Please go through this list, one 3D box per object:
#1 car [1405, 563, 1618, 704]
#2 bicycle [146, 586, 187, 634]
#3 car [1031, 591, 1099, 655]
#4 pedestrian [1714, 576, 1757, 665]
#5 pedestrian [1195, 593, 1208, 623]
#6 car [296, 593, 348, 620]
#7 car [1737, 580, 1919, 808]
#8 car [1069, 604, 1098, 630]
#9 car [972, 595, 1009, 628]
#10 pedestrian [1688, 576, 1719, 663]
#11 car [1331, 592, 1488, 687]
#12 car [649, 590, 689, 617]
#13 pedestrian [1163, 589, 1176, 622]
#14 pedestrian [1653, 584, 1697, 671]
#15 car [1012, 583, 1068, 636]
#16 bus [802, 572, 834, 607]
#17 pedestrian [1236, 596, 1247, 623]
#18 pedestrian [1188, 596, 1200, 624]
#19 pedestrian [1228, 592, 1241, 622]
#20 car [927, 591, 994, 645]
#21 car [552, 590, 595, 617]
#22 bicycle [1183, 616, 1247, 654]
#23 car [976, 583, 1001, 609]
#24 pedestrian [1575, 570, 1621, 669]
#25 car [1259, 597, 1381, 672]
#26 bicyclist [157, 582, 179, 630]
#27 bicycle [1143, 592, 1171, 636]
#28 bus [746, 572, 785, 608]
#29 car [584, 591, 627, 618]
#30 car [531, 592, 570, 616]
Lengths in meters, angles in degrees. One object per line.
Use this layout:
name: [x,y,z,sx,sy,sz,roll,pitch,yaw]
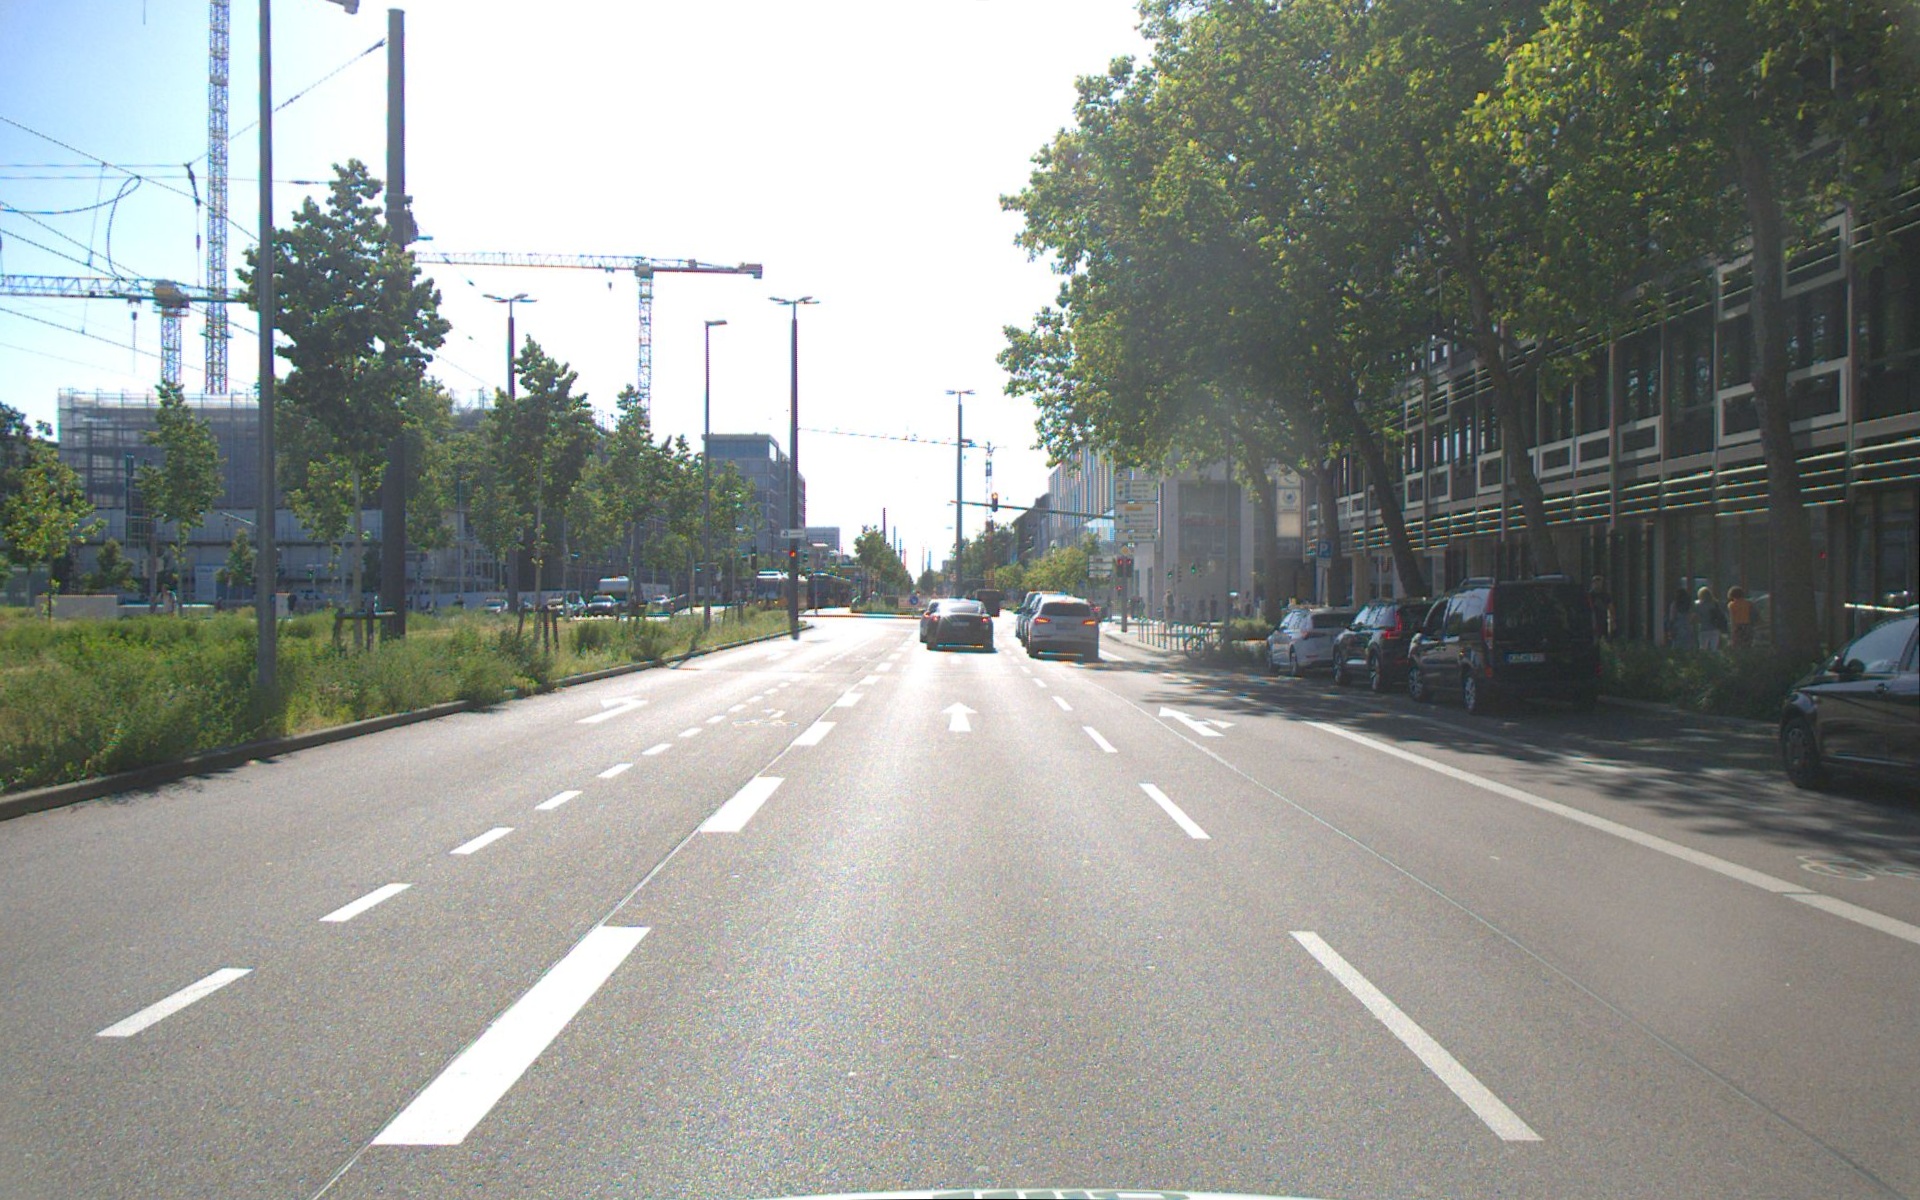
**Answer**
car: [7.901,0.434,24.100,1.669,1.821,4.192,-2,0,0]
bicycle: [-24.867,0.307,51.831,0.353,1.481,1.913,1,0,0]
car: [2.848,0.600,45.476,1.686,1.646,4.187,0,0,1]
pedestrian: [14.540,0.379,31.018,0.542,1.631,0.573,1,0,0]
pedestrian: [11.903,0.400,81.464,0.550,1.466,0.632,2,-1,6]
car: [-40.162,0.419,104.259,1.676,1.583,3.999,2,-1,0]
car: [7.984,0.690,12.987,1.669,1.672,4.637,-1,0,2]
car: [8.613,1.185,115.580,1.629,1.678,3.699,2,-1,-2]
car: [1.417,0.526,78.302,1.686,1.456,4.186,0,0,0]
pedestrian: [13.945,0.359,31.023,0.309,1.612,0.500,0,0,-9]
car: [7.997,0.660,29.791,1.669,1.591,4.192,0,0,0]
car: [-14.051,0.182,79.890,1.348,1.199,3.219,2,-1,-1]
pedestrian: [9.771,0.259,77.002,0.550,1.466,0.632,2,-1,6]
pedestrian: [13.387,0.514,30.964,0.496,1.612,0.634,0,0,-9]
car: [2.821,0.325,59.046,1.687,1.814,4.185,0,0,-2]
bus: [-13.436,-0.954,156.984,2.575,3.011,9.893,2,-1,-3]
pedestrian: [15.481,0.517,91.019,0.550,1.466,0.632,2,-1,6]
pedestrian: [12.742,0.537,90.065,0.550,1.466,0.632,2,-1,6]
pedestrian: [13.487,0.356,81.408,0.550,1.466,0.632,2,-1,6]
car: [-0.026,0.510,49.008,1.873,1.512,4.009,0,0,-1]
car: [-18.758,0.177,80.354,1.348,1.199,3.219,2,-1,-1]
bicycle: [6.941,0.959,45.076,1.660,0.974,0.478,-1,0,-5]
car: [2.375,-0.317,137.340,1.953,2.049,3.999,2,-1,0]
pedestrian: [12.853,0.389,33.333,0.663,1.950,0.557,2,-1,0]
car: [7.874,0.717,36.562,1.669,1.519,4.600,0,0,0]
bicyclist: [-24.866,0.177,51.910,0.386,1.480,0.539,2,0,-1]
bicycle: [6.888,0.495,57.916,0.550,1.466,2.576,2,-1,-1]
bus: [-16.411,-0.795,139.967,2.575,2.831,8.839,2,-1,-3]
car: [-16.875,0.235,78.846,1.348,1.199,3.219,2,-1,-1]
car: [-29.647,0.290,119.875,1.800,1.641,3.894,2,-1,-1]
